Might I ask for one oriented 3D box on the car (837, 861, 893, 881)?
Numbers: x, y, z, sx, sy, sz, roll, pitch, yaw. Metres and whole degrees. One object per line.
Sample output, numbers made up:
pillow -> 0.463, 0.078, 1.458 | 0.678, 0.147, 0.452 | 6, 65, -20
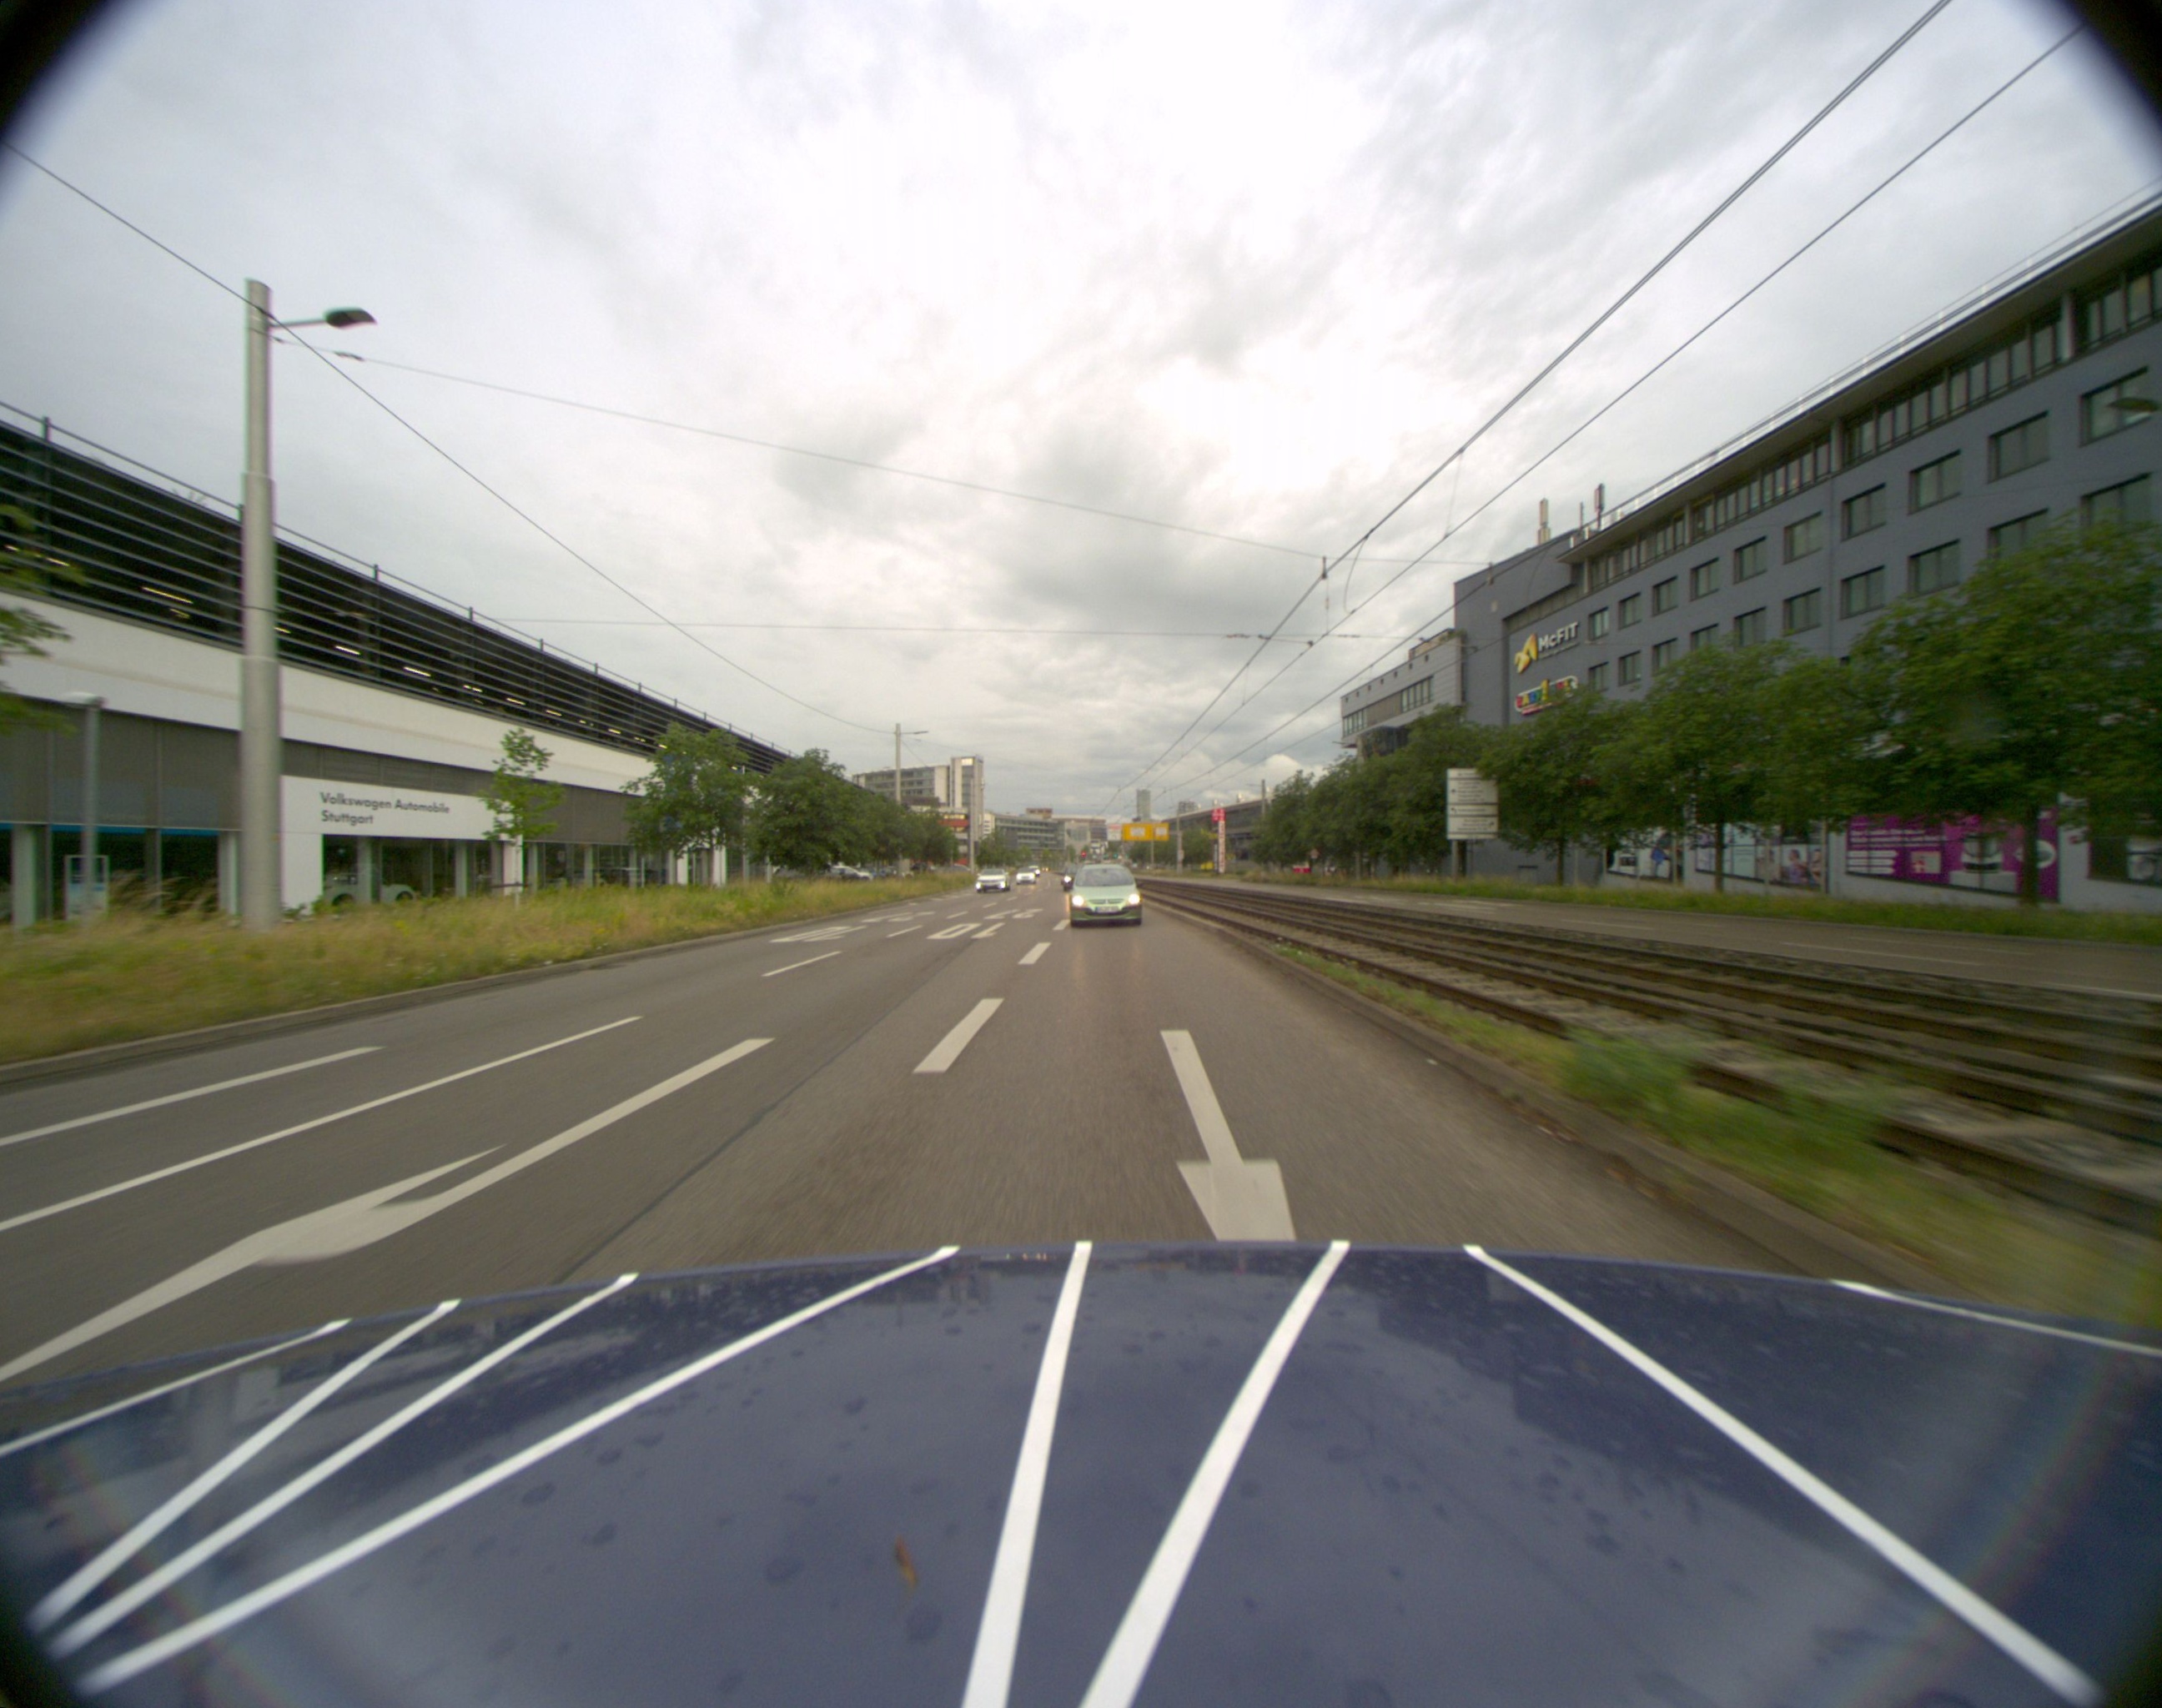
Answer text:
car -> -18.572, 1.457, 65.334 | 4.199, 1.559, 1.794 | 1, 0, -38

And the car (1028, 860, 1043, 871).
car -> -6.936, 1.781, 117.187 | 1.890, 1.584, 3.982 | -1, -1, 2

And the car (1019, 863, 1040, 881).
car -> -4.759, 1.645, 70.287 | 1.819, 1.584, 3.836 | 0, 0, -2

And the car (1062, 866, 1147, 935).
car -> 0.505, 1.100, 19.576 | 1.762, 1.489, 4.136 | -3, 0, -3

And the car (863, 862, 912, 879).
car -> -18.588, 1.598, 73.088 | 4.109, 1.559, 1.794 | 1, 0, -40

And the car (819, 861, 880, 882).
car -> -18.838, 1.455, 61.881 | 4.363, 1.617, 1.851 | 1, 0, -33

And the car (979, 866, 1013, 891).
car -> -5.355, 1.503, 48.345 | 1.879, 1.485, 3.836 | -1, -1, -2

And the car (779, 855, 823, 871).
car -> -30.058, 0.927, 81.598 | 3.997, 1.499, 1.786 | -3, 0, -1

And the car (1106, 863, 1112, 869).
car -> 7.946, 3.441, 217.215 | 1.602, 1.528, 2.948 | 2, 3, -2

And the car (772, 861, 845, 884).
car -> -19.553, 1.320, 54.551 | 4.634, 1.559, 1.847 | 1, 0, -33

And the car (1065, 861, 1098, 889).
car -> -0.019, 1.209, 45.508 | 1.762, 1.535, 3.714 | -3, 0, -2

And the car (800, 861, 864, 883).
car -> -19.114, 1.395, 58.411 | 4.384, 1.559, 1.794 | 1, 0, -34

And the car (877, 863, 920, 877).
car -> -19.804, 1.702, 82.487 | 4.108, 1.457, 1.743 | 1, 0, -36

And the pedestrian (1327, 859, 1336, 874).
pedestrian -> 29.391, 1.477, 89.253 | 0.810, 1.669, 0.580 | 0, 0, -14

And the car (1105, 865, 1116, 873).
car -> 6.402, 3.315, 165.874 | 1.999, 1.725, 4.213 | 2, -2, -1
